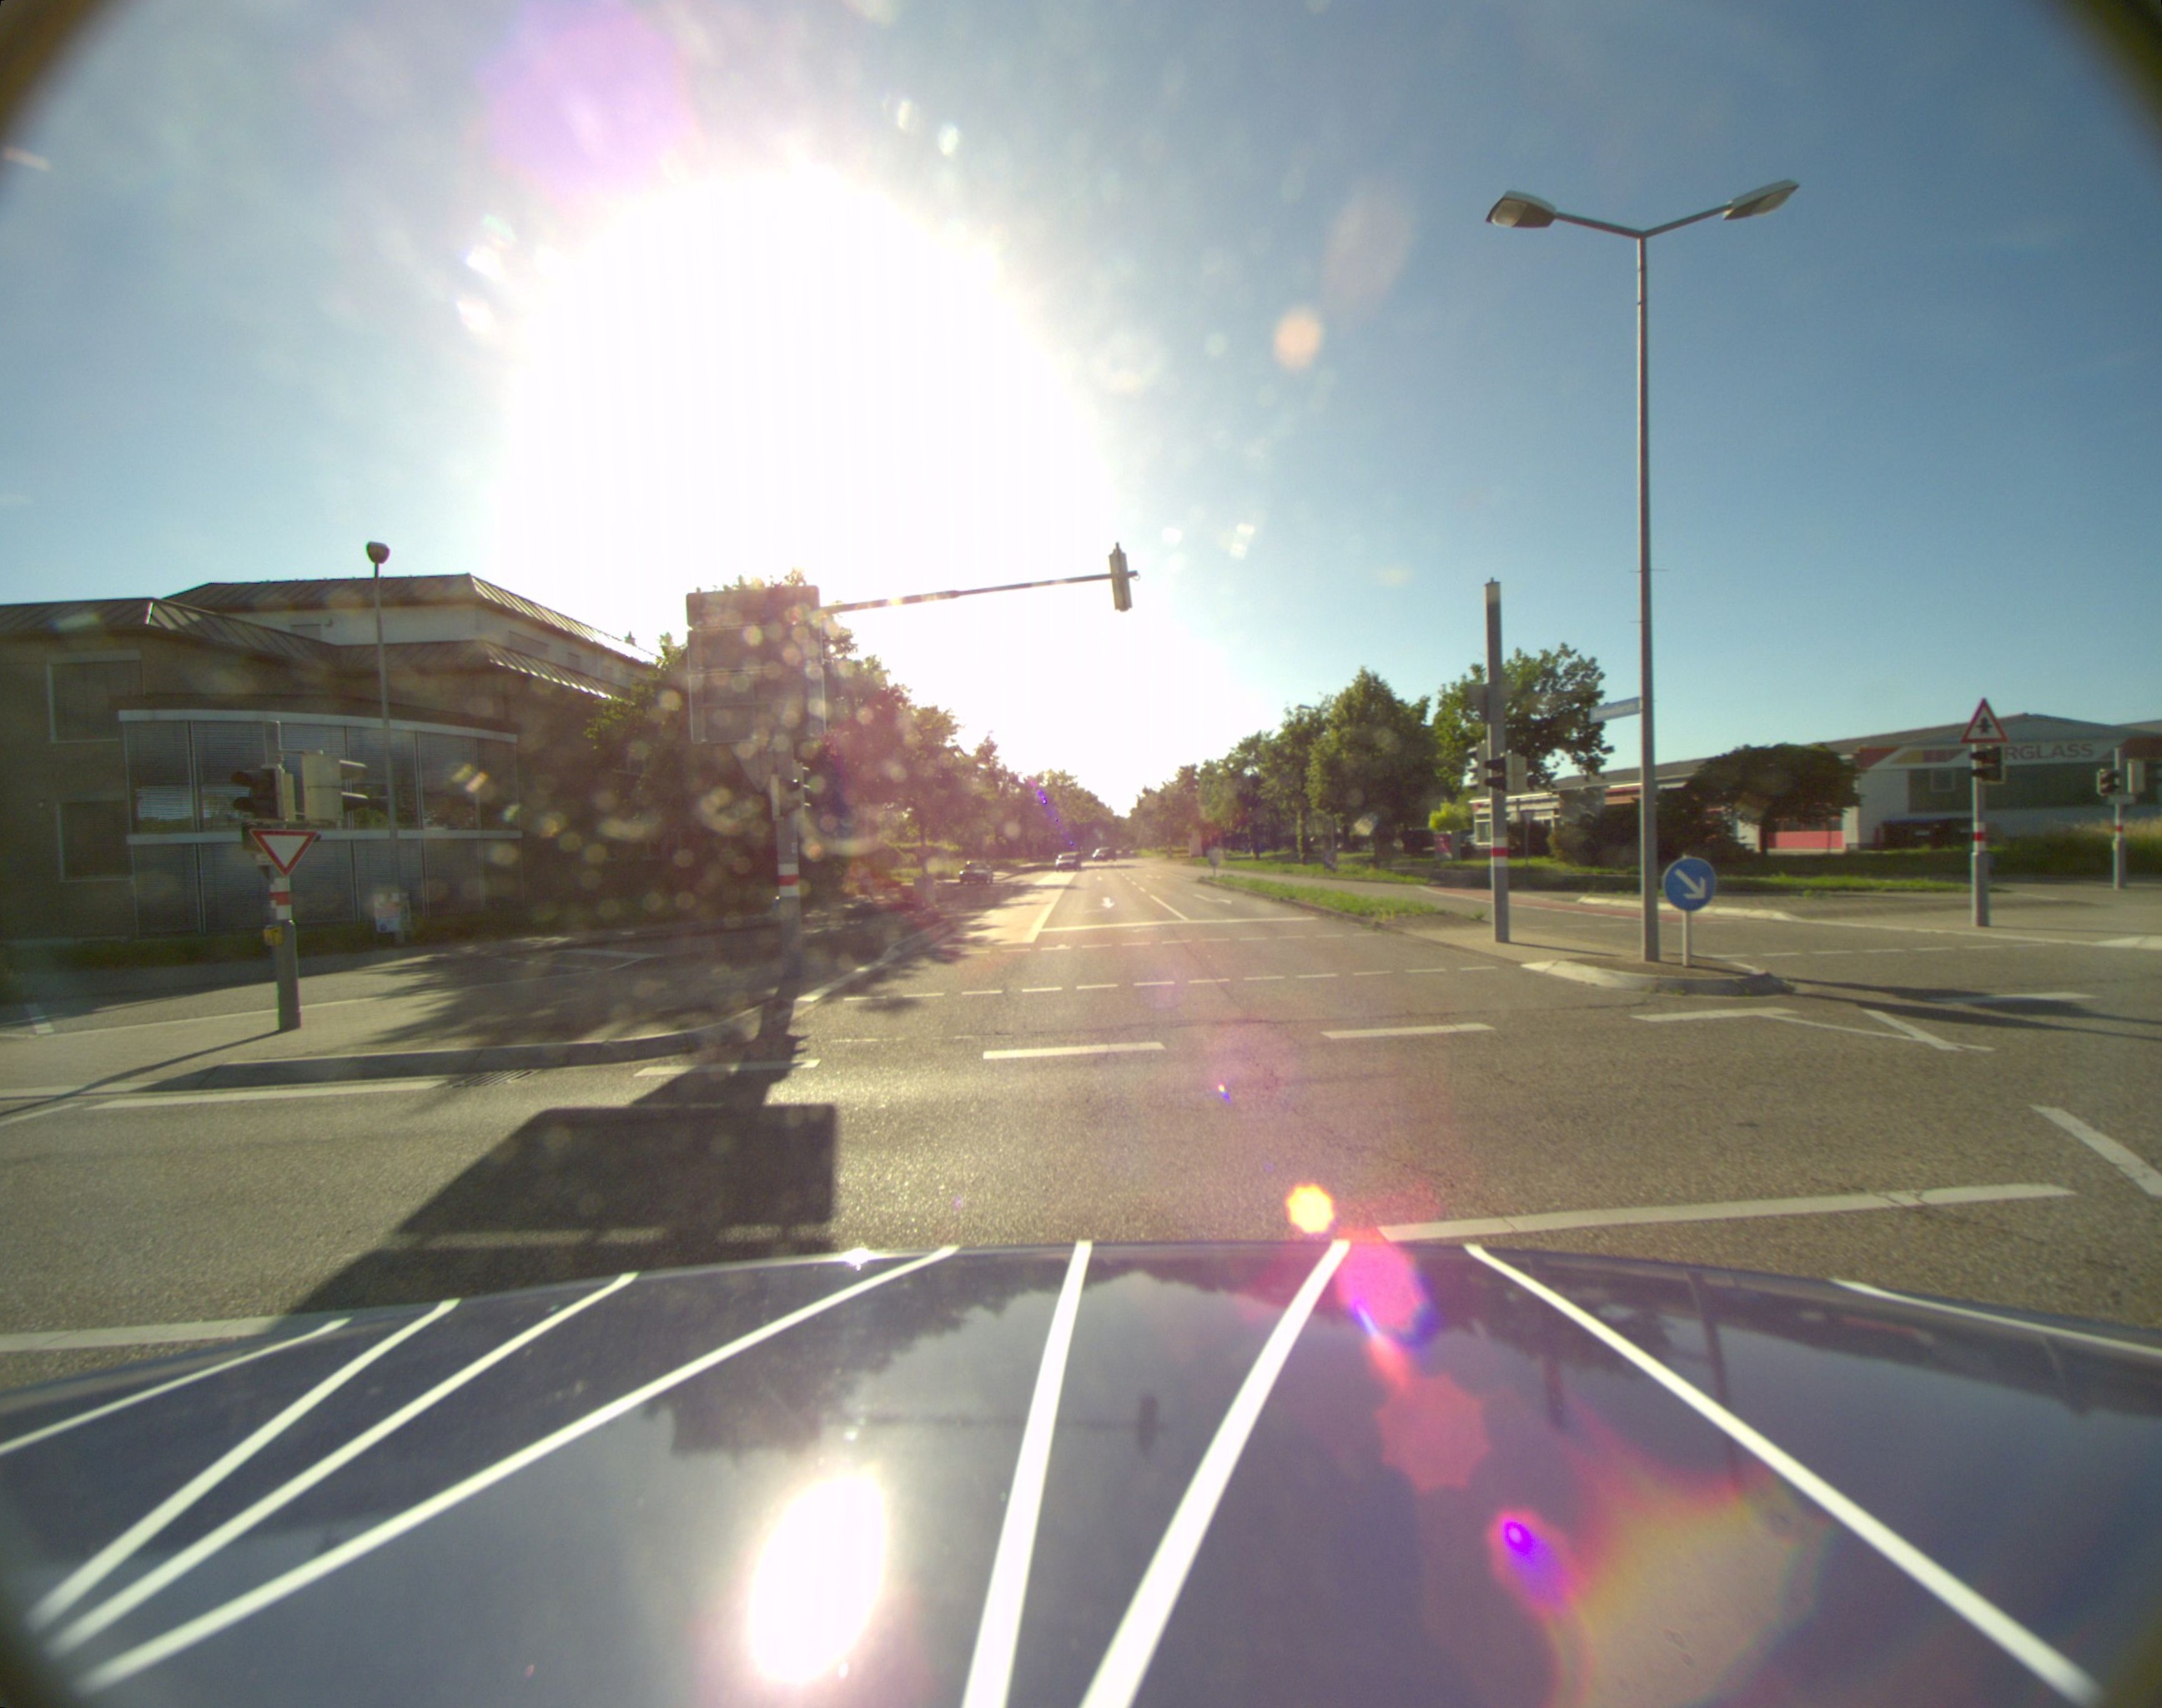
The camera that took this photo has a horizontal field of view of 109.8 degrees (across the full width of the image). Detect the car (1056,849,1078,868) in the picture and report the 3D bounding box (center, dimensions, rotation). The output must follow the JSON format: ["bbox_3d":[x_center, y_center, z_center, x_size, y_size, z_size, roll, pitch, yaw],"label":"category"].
[{"bbox_3d":[-1.153,0.346,64.317,1.776,1.477,3.779,-1,1,0],"label":"car"}]

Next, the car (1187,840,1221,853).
[{"bbox_3d":[16.885,-1.050,104.413,4.489,1.696,2.001,-2,1,6],"label":"car"}]

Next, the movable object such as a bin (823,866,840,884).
[{"bbox_3d":[-15.170,1.269,46.187,0.687,1.036,0.695,-4,1,1],"label":"movable object such as a bin"}]

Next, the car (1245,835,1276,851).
[{"bbox_3d":[25.615,-1.641,108.605,3.994,2.002,2.001,-4,1,10],"label":"car"}]

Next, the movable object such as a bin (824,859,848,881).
[{"bbox_3d":[-15.757,1.023,48.817,1.208,1.333,0.796,-2,1,1],"label":"movable object such as a bin"}]

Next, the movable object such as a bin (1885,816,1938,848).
[{"bbox_3d":[34.857,-0.904,31.916,1.130,1.291,0.993,-2,1,1],"label":"movable object such as a bin"}]

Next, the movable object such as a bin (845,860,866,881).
[{"bbox_3d":[-14.479,1.045,48.811,1.089,1.314,0.796,-2,1,1],"label":"movable object such as a bin"}]

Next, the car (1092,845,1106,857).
[{"bbox_3d":[2.386,-0.421,98.751,1.776,1.477,4.214,-1,1,2],"label":"car"}]

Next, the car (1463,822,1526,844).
[{"bbox_3d":[35.478,-1.791,65.263,4.238,1.578,1.997,-4,1,0],"label":"car"}]

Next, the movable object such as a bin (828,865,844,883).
[{"bbox_3d":[-15.142,1.244,46.906,0.687,1.036,0.695,-2,1,1],"label":"movable object such as a bin"}]

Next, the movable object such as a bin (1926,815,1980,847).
[{"bbox_3d":[36.709,-0.952,31.998,1.130,1.291,0.993,-2,1,1],"label":"movable object such as a bin"}]

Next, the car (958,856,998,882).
[{"bbox_3d":[-6.445,0.907,47.949,1.776,1.477,4.214,-1,1,2],"label":"car"}]
